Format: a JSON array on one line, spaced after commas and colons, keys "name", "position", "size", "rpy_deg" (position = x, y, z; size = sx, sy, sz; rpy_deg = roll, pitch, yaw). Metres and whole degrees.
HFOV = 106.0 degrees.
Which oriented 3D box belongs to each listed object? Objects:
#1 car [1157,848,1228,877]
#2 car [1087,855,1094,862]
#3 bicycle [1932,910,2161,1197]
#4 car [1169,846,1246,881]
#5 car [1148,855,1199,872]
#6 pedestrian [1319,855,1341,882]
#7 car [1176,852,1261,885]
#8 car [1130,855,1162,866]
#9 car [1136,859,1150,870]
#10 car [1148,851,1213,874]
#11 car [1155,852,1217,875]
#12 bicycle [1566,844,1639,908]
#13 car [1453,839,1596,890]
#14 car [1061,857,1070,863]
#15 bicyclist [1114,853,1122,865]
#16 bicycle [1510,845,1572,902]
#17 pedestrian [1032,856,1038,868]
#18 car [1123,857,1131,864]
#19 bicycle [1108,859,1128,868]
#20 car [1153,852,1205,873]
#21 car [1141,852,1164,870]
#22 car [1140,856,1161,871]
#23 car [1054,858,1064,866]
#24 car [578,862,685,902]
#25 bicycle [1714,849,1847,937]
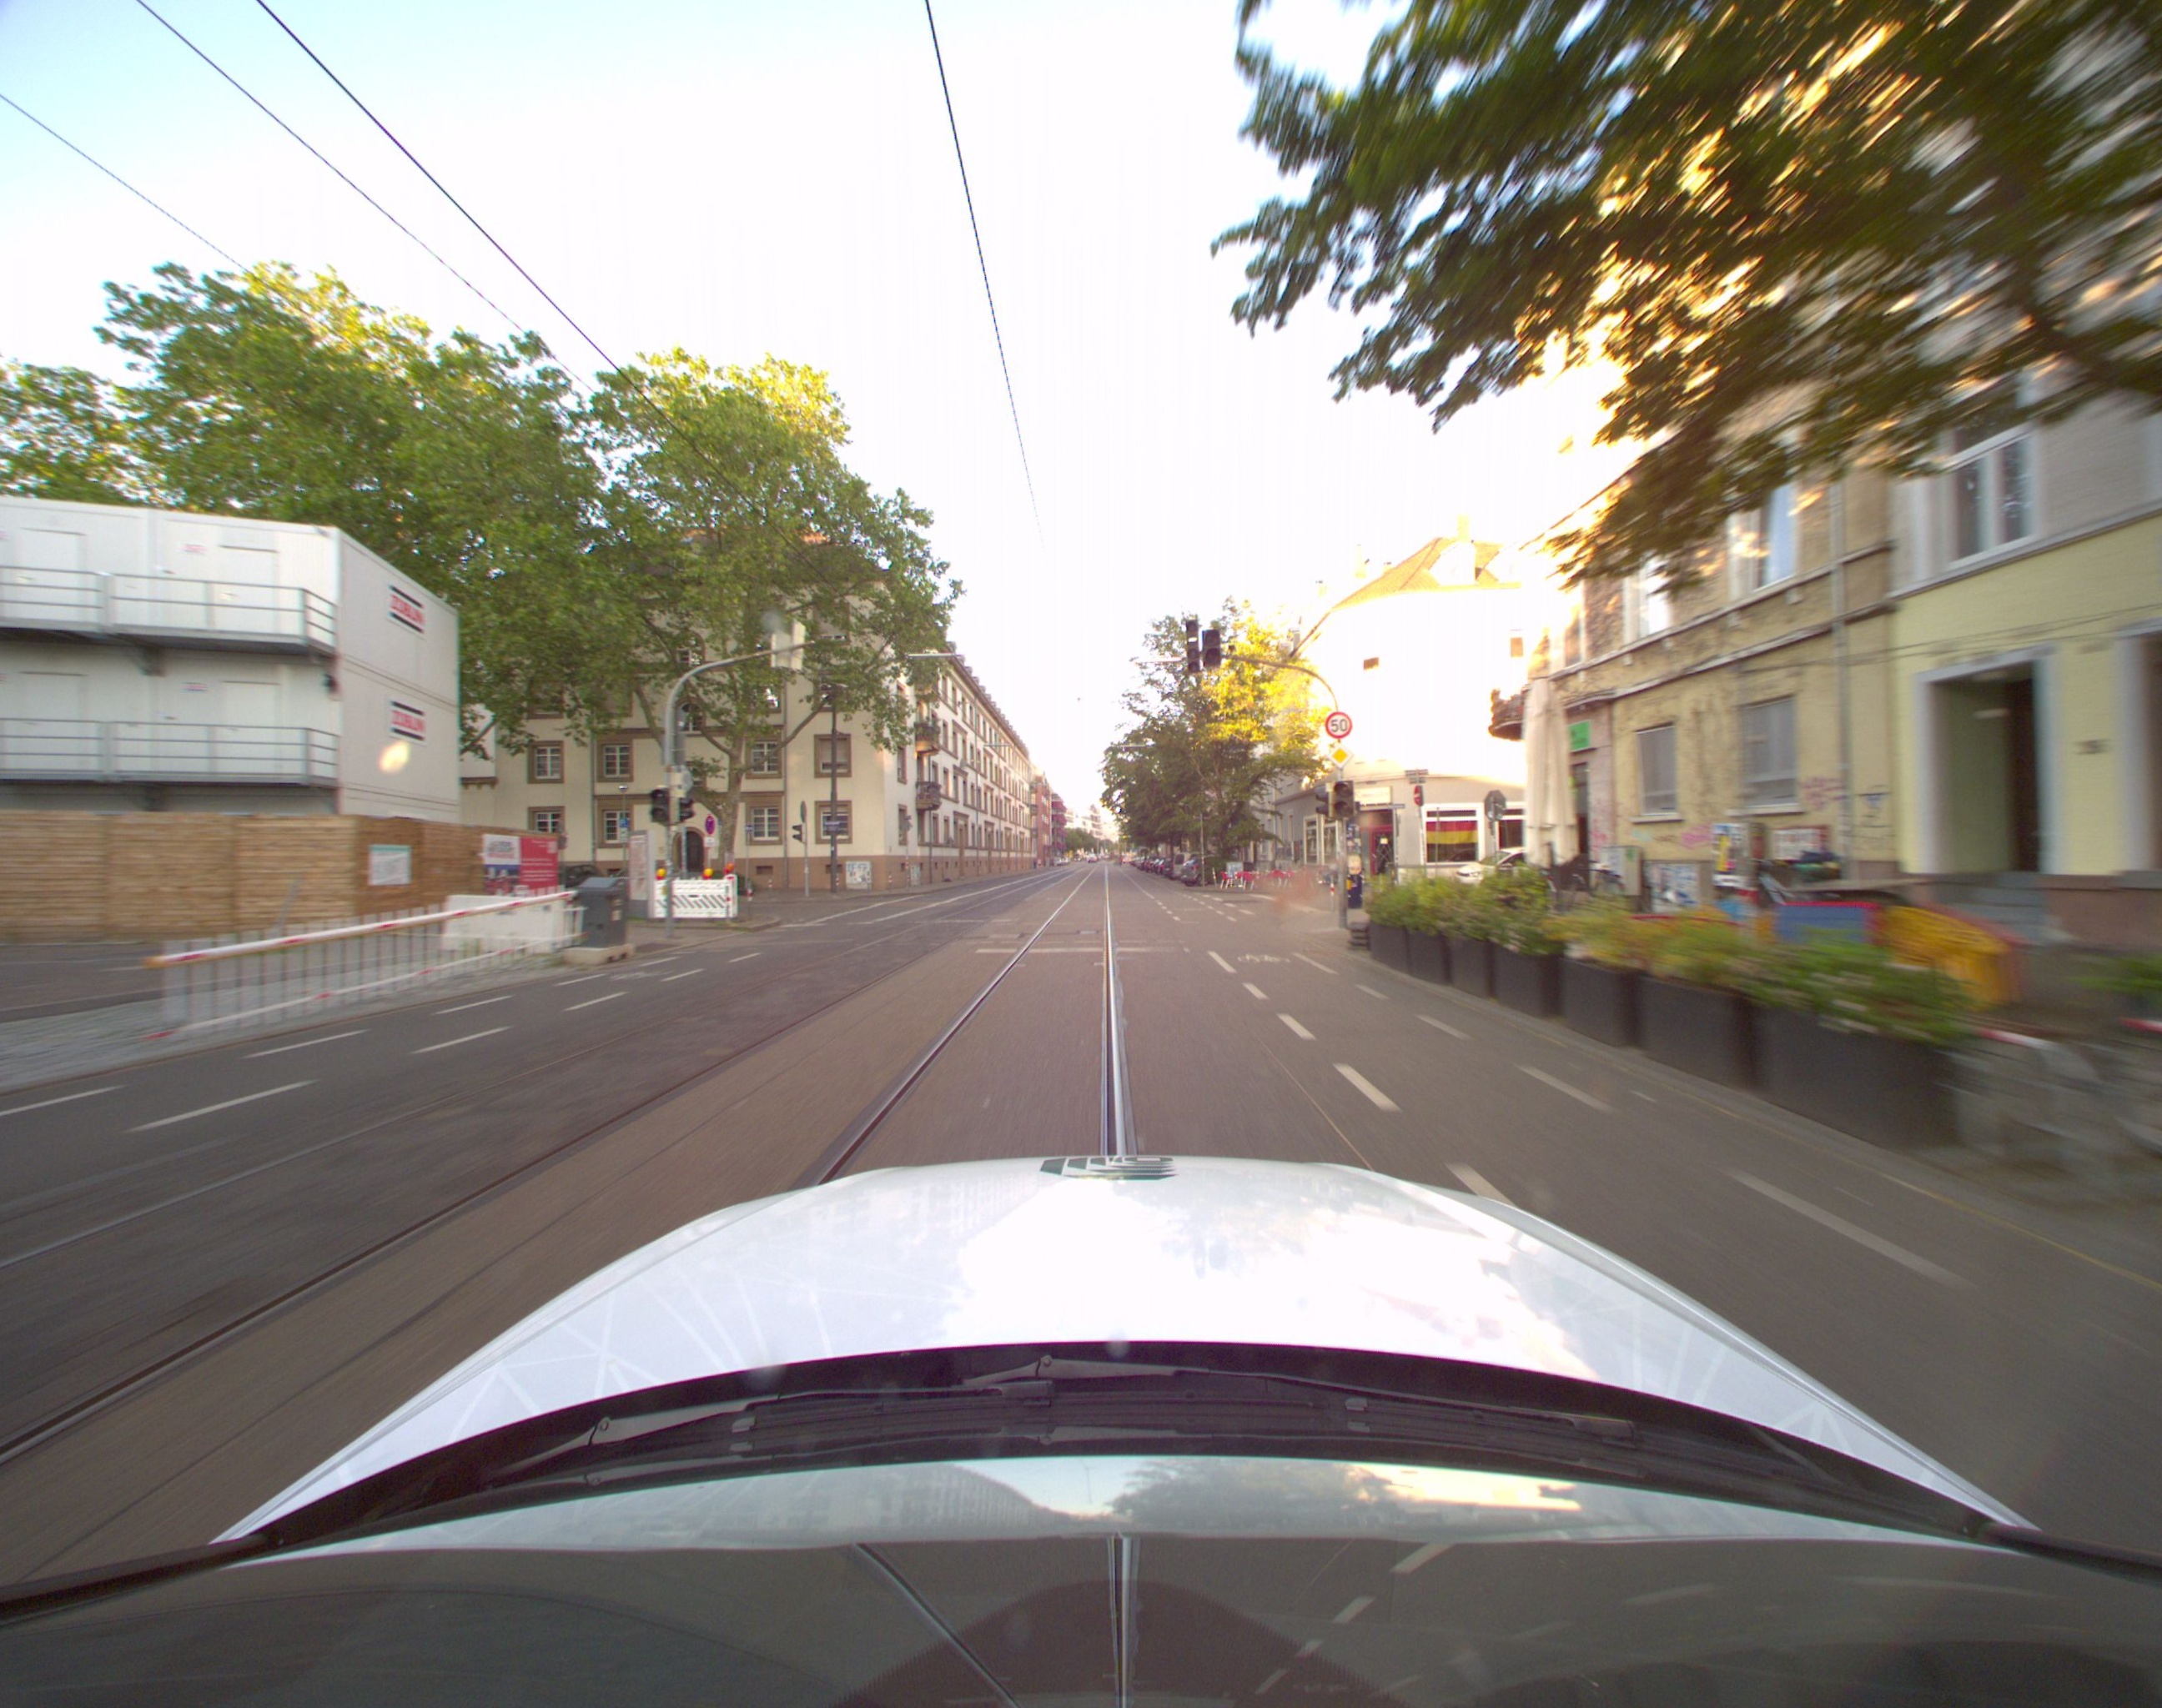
[{"name": "car", "position": [7.243, 0.547, 52.861], "size": [4.193, 1.696, 1.834], "rpy_deg": [-2, 0, -20]}, {"name": "car", "position": [2.212, 1.018, 194.701], "size": [1.554, 1.558, 3.753], "rpy_deg": [-2, 0, -1]}, {"name": "bicycle", "position": [4.892, 0.870, 3.327], "size": [0.759, 1.125, 2.027], "rpy_deg": [0, 0, 2]}, {"name": "car", "position": [7.398, 0.516, 47.669], "size": [4.000, 1.816, 1.812], "rpy_deg": [-3, 0, -20]}, {"name": "car", "position": [8.096, 0.836, 71.318], "size": [4.269, 1.388, 1.608], "rpy_deg": [-1, 0, -24]}, {"name": "pedestrian", "position": [11.111, 0.645, 36.342], "size": [0.652, 1.154, 0.686], "rpy_deg": [-1, 0, -22]}, {"name": "car", "position": [7.079, 0.729, 42.017], "size": [3.998, 1.540, 1.768], "rpy_deg": [-1, 0, -18]}, {"name": "car", "position": [10.219, 1.027, 128.287], "size": [4.461, 1.516, 2.048], "rpy_deg": [-2, 0, -22]}, {"name": "car", "position": [7.809, 1.307, 103.043], "size": [1.613, 1.381, 3.777], "rpy_deg": [-3, 0, 2]}, {"name": "car", "position": [7.235, 0.616, 59.406], "size": [4.386, 1.464, 1.710], "rpy_deg": [-2, 0, -16]}, {"name": "car", "position": [7.431, 0.636, 57.619], "size": [3.995, 1.464, 1.710], "rpy_deg": [-2, 0, -16]}, {"name": "bicycle", "position": [10.413, 0.414, 16.314], "size": [0.468, 1.210, 1.586], "rpy_deg": [-1, 0, 2]}, {"name": "car", "position": [16.478, 0.401, 30.472], "size": [4.299, 1.841, 1.911], "rpy_deg": [0, 0, 7]}, {"name": "car", "position": [-3.384, 1.300, 177.644], "size": [1.684, 1.414, 4.682], "rpy_deg": [1, 0, 4]}, {"name": "bicyclist", "position": [6.360, 0.880, 138.883], "size": [1.213, 2.013, 0.945], "rpy_deg": [-2, 0, -7]}, {"name": "bicycle", "position": [10.307, 0.419, 18.301], "size": [0.521, 1.210, 1.586], "rpy_deg": [-1, 0, 2]}, {"name": "pedestrian", "position": [-6.382, 1.096, 113.674], "size": [0.793, 1.701, 0.981], "rpy_deg": [-1, -1, -1]}, {"name": "car", "position": [10.003, 1.445, 178.079], "size": [1.709, 1.555, 4.207], "rpy_deg": [0, 0, 3]}, {"name": "bicycle", "position": [6.283, 1.577, 138.867], "size": [3.167, 1.354, 0.955], "rpy_deg": [-2, -1, -7]}, {"name": "car", "position": [8.197, 0.728, 68.236], "size": [3.970, 1.553, 1.710], "rpy_deg": [-2, 1, -16]}, {"name": "car", "position": [7.077, 0.660, 80.667], "size": [1.873, 1.618, 4.263], "rpy_deg": [-4, 0, 1]}, {"name": "car", "position": [7.608, 1.008, 89.730], "size": [1.986, 1.489, 5.038], "rpy_deg": [-2, 0, 2]}, {"name": "car", "position": [-4.293, 1.542, 157.603], "size": [1.710, 1.555, 4.206], "rpy_deg": [0, 0, 2]}, {"name": "car", "position": [-18.468, 1.098, 33.721], "size": [1.746, 1.360, 4.478], "rpy_deg": [0, 2, 3]}, {"name": "bicycle", "position": [10.371, 0.540, 12.158], "size": [0.468, 1.210, 1.784], "rpy_deg": [-1, 0, 2]}]
